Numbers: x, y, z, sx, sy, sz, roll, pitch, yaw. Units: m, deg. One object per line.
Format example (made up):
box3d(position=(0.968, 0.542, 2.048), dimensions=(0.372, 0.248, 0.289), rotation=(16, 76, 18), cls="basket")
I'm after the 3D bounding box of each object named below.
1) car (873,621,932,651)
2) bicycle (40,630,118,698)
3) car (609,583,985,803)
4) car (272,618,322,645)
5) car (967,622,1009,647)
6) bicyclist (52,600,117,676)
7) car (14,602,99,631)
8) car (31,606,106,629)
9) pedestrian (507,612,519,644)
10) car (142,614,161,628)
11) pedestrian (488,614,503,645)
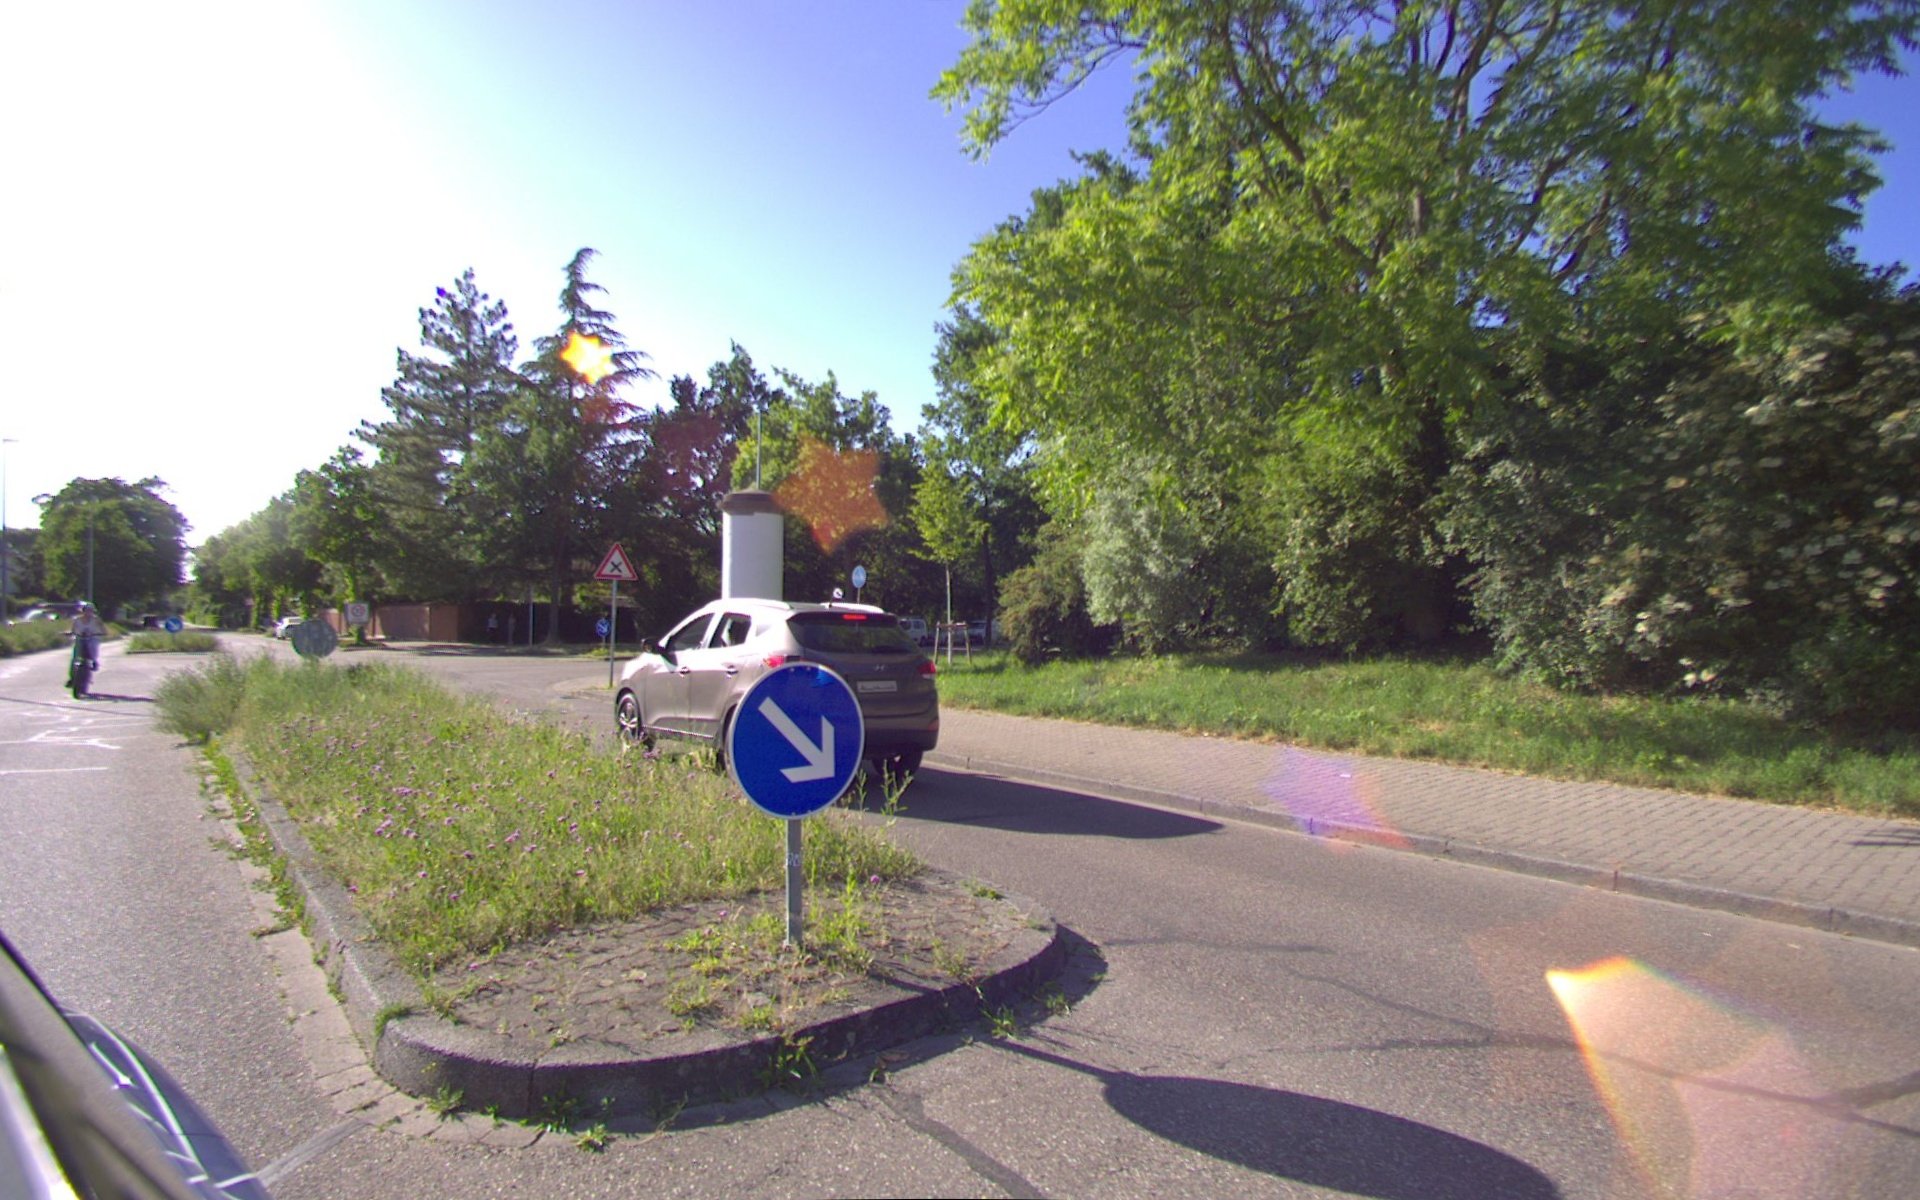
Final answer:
box3d(position=(-3.514, 2.220, 62.737), dimensions=(1.745, 1.762, 4.594), rotation=(-1, -2, 25), cls="car")
box3d(position=(-15.889, 1.131, 18.299), dimensions=(0.450, 1.153, 1.904), rotation=(2, -2, -23), cls="bicycle")
box3d(position=(-1.827, 0.786, 10.151), dimensions=(1.888, 1.718, 4.193), rotation=(3, -2, -38), cls="car")
box3d(position=(-42.529, 2.008, 64.858), dimensions=(1.970, 1.671, 4.003), rotation=(2, -2, -44), cls="car")
box3d(position=(2.052, 2.470, 72.790), dimensions=(1.494, 1.768, 3.765), rotation=(-1, -2, 28), cls="car")
box3d(position=(-16.043, 0.689, 18.567), dimensions=(0.627, 1.357, 0.841), rotation=(1, -1, -22), cls="bicyclist")
box3d(position=(-56.496, 1.046, 63.368), dimensions=(1.732, 1.730, 3.632), rotation=(0, -1, 15), cls="car")
box3d(position=(-58.190, 1.161, 66.099), dimensions=(1.609, 1.452, 3.361), rotation=(0, -1, 29), cls="car")
box3d(position=(-22.247, 1.394, 50.396), dimensions=(0.389, 1.573, 0.540), rotation=(2, -1, -36), cls="pedestrian")
box3d(position=(-110.295, 2.853, 138.046), dimensions=(1.968, 1.829, 4.008), rotation=(1, -1, -38), cls="car")
box3d(position=(-23.010, 1.473, 50.155), dimensions=(0.394, 1.532, 0.533), rotation=(0, -1, 27), cls="pedestrian")
